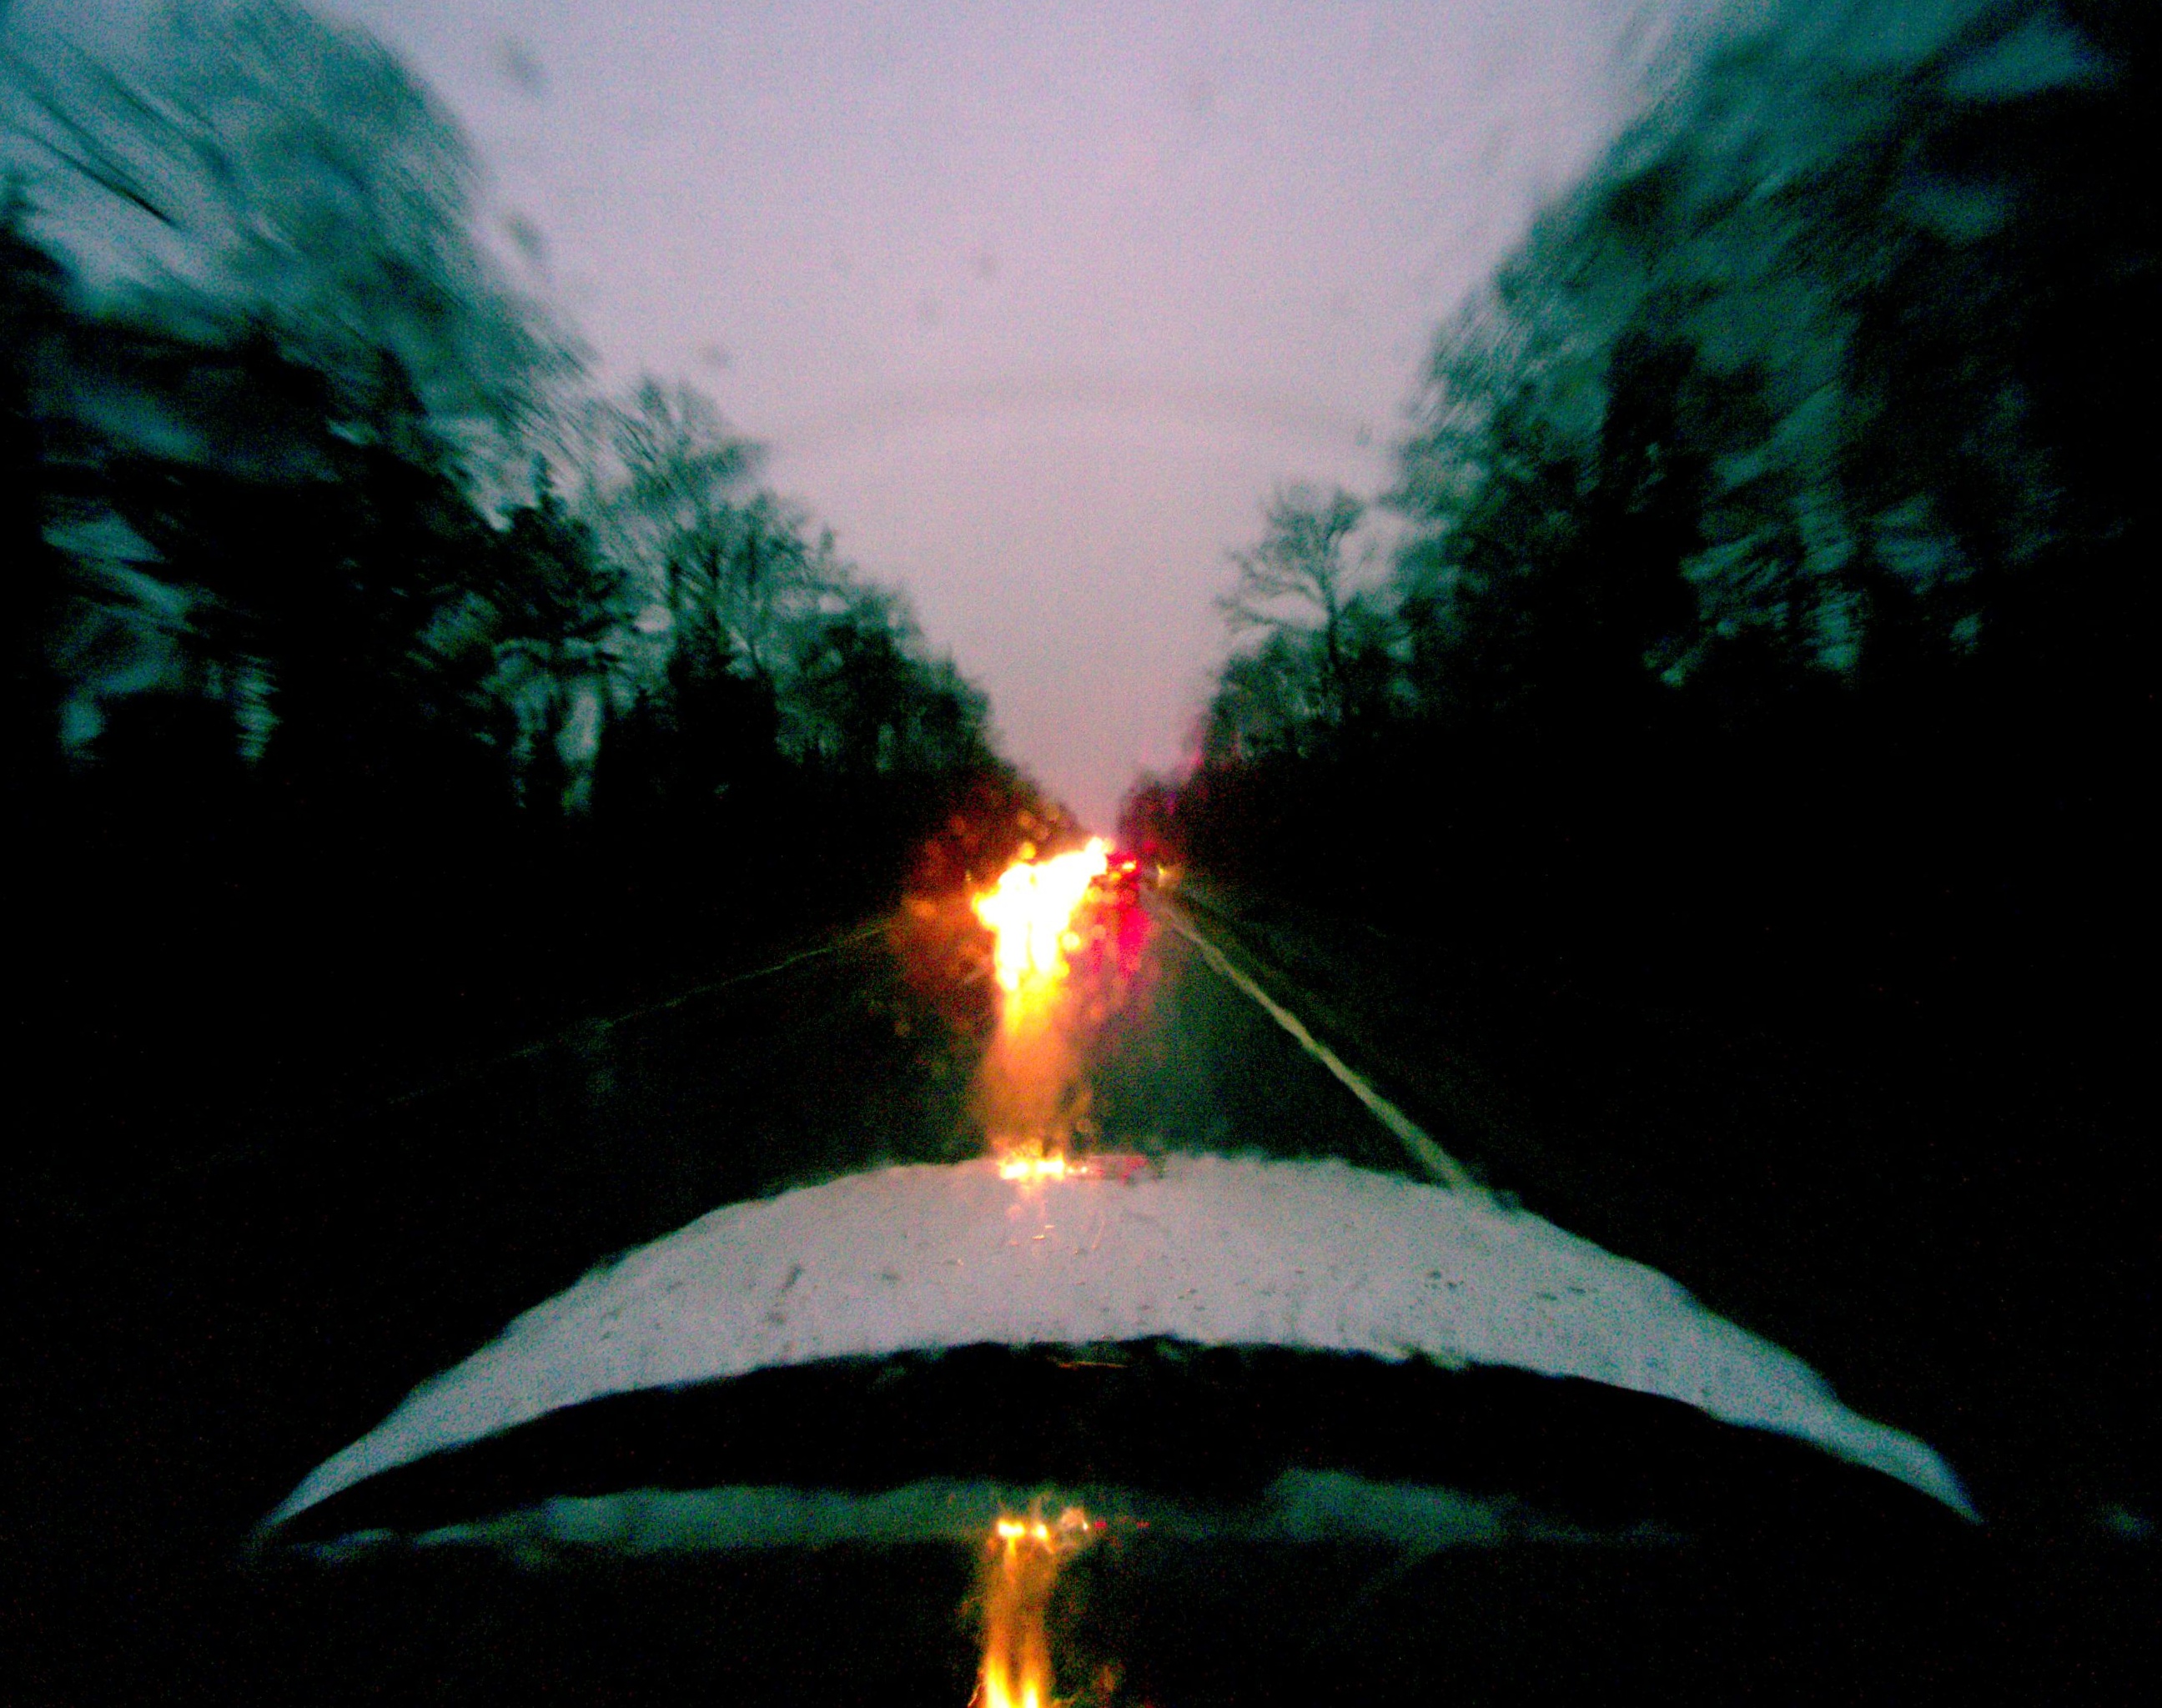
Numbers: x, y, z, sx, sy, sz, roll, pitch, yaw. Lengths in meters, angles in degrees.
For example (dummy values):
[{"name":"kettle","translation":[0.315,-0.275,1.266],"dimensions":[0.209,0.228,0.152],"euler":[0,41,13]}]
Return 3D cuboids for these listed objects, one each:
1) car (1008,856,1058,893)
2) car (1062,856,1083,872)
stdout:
[{"name":"car","translation":[-2.113,0.867,36.875],"dimensions":[1.792,1.461,4.179],"euler":[-3,0,2]},{"name":"car","translation":[-0.848,0.982,83.058],"dimensions":[1.758,1.458,4.509],"euler":[-5,0,2]}]
